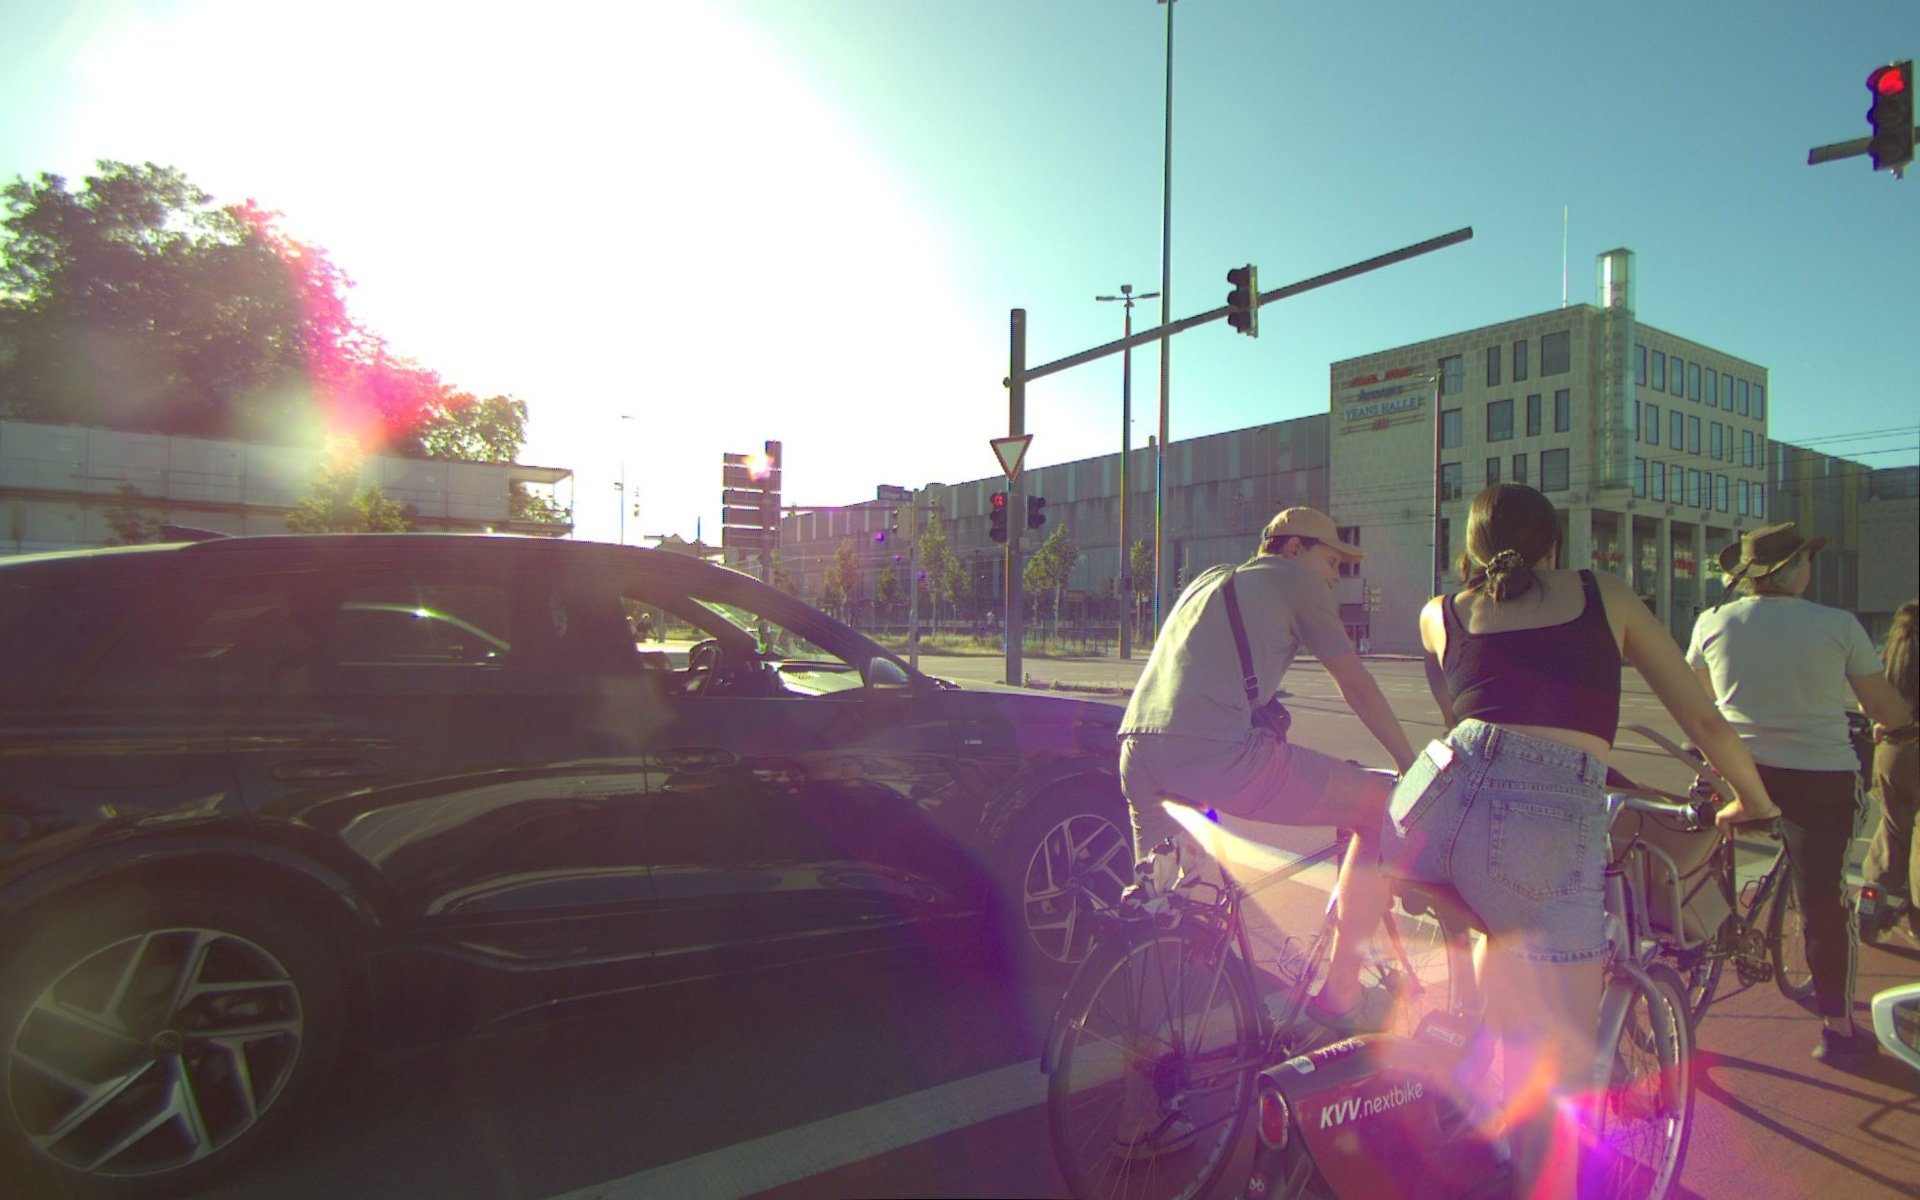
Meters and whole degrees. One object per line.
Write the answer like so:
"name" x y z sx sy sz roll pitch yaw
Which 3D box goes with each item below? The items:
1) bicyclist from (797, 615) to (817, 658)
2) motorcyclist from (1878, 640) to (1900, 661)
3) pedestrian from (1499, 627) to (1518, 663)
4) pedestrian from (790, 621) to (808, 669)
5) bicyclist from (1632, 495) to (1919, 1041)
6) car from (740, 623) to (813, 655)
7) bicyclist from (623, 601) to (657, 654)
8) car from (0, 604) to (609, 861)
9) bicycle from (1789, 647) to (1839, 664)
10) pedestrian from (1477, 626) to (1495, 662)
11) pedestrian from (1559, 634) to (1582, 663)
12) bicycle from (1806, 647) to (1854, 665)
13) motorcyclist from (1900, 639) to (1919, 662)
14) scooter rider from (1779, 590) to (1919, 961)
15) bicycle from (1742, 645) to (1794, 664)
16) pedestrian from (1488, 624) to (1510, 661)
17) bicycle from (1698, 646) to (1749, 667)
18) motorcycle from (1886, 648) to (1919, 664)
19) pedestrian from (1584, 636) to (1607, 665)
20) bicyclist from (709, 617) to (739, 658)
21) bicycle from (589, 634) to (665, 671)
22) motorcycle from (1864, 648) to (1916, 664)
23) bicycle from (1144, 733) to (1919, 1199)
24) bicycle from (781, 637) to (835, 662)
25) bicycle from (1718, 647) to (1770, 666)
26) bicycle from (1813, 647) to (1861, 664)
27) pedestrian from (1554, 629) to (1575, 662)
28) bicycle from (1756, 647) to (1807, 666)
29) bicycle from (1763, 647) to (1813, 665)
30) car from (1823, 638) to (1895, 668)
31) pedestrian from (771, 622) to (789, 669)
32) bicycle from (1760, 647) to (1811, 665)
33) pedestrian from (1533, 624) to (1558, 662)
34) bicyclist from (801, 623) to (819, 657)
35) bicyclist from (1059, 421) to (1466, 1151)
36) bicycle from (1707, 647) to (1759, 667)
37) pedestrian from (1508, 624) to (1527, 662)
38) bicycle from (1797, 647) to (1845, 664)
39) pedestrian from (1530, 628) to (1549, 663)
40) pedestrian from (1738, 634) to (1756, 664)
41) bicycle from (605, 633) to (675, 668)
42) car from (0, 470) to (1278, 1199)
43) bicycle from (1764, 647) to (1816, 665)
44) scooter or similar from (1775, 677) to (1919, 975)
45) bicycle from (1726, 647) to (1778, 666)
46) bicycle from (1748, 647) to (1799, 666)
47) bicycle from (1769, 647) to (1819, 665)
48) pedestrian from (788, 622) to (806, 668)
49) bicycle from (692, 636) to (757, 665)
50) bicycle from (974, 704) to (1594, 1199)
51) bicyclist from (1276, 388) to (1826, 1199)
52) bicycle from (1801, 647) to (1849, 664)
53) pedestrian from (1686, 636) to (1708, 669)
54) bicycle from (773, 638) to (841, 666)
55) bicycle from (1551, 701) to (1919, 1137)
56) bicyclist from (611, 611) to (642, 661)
"bicyclist" -5.532 1.303 36.291 0.607 1.525 0.754 1 -1 -15
"motorcyclist" 67.622 3.671 73.130 0.908 1.490 1.029 2 0 -37
"pedestrian" 33.232 2.710 60.859 0.883 2.152 0.944 0 -1 34
"pedestrian" -5.409 1.511 33.804 0.446 1.587 0.516 1 -1 -30
"bicyclist" 3.000 0.532 3.628 0.777 1.691 0.695 1 -1 -32
"car" -8.734 1.807 47.591 1.980 1.394 3.962 0 -1 -34
"bicyclist" -9.436 0.812 29.666 0.926 1.565 0.647 0 -1 -17
"car" -4.846 0.750 6.689 4.475 1.370 1.762 2 -1 -31
"bicycle" 58.267 3.787 68.549 0.824 1.125 2.458 1 -2 -28
"pedestrian" 32.233 2.682 61.529 0.883 2.152 0.944 0 -1 34
"pedestrian" 35.506 2.807 58.445 0.988 1.672 0.948 1 -1 22
"bicycle" 60.249 3.858 69.595 0.623 1.125 2.458 1 -2 -28
"motorcyclist" 70.723 3.745 74.634 0.908 1.596 1.129 2 0 -37
"scooter rider" 4.436 0.751 4.683 1.105 1.564 0.638 1 0 -33
"bicycle" 50.343 3.398 62.613 0.675 1.125 2.458 1 -2 -28
"pedestrian" 32.168 2.546 59.945 0.938 2.152 0.889 2 -1 -38
"bicycle" 45.701 3.376 60.166 0.650 1.127 2.391 1 -2 -29
"motorcycle" 70.688 4.176 74.648 0.908 1.009 2.649 2 0 -36
"pedestrian" 35.706 2.816 56.431 0.927 1.592 0.842 1 -1 19
"bicyclist" -8.095 1.287 34.478 0.831 1.375 0.799 0 0 -29
"bicycle" -9.494 1.485 28.730 2.044 0.991 0.802 0 0 -18
"motorcycle" 67.668 4.076 73.071 0.908 1.009 2.649 2 0 -36
"bicycle" 1.274 0.907 2.106 1.780 1.108 0.647 1 -1 -32
"bicycle" -5.996 1.924 39.503 2.042 0.939 0.803 0 0 -14
"bicycle" 48.013 3.446 61.516 0.675 1.125 2.459 1 -2 -27
"bicycle" 61.257 3.880 70.217 0.652 1.125 2.458 1 -2 -28
"pedestrian" 38.124 2.846 63.340 1.016 2.040 0.906 2 -1 -42
"bicycle" 52.563 3.591 64.279 0.675 1.125 2.458 1 -2 -28
"bicycle" 54.442 3.656 66.094 0.675 1.125 2.458 1 -2 -28
"car" 49.842 2.909 55.677 4.247 1.602 1.927 1 -2 -32
"pedestrian" -6.113 1.532 34.099 0.446 1.587 0.516 1 -1 -30
"bicycle" 53.191 3.605 64.726 0.675 1.125 2.458 1 -2 -28
"pedestrian" 33.904 2.493 58.186 1.042 2.157 1.098 1 -1 21
"bicyclist" -5.902 1.564 39.541 0.627 1.287 0.803 0 0 -14
"bicyclist" 0.810 0.417 2.702 0.884 1.596 0.620 1 -1 -31
"bicycle" 46.832 3.416 60.866 0.676 1.125 2.457 1 -2 -29
"pedestrian" 32.453 2.491 58.493 0.881 2.152 0.946 0 -1 25
"bicycle" 59.063 3.806 68.924 0.652 1.125 2.458 1 -2 -28
"pedestrian" 34.461 2.709 59.733 0.900 2.040 1.022 0 -1 27
"pedestrian" 54.813 3.409 69.941 0.933 2.008 1.004 0 -1 36
"bicycle" -9.429 1.489 29.654 1.946 1.010 0.647 0 -1 -17
"car" -1.154 0.614 4.094 4.740 1.684 2.182 2 -1 -33
"bicycle" 53.846 3.628 65.200 0.824 1.125 2.458 1 -2 -28
"scooter or similar" 4.567 0.997 4.788 1.468 1.191 0.638 1 0 -33
"bicycle" 48.747 3.458 61.842 0.675 1.125 2.458 1 -2 -28
"bicycle" 51.525 3.556 63.653 0.586 1.125 2.458 1 -2 -28
"bicycle" 55.459 3.690 66.807 0.824 1.125 2.458 1 -2 -28
"pedestrian" -5.655 1.542 34.825 0.446 1.587 0.516 1 -1 -30
"bicycle" -8.090 1.726 34.475 2.052 0.939 0.799 0 -1 -29
"bicycle" 0.963 0.904 2.782 1.795 1.131 0.620 1 -1 -31
"bicyclist" 1.189 0.465 2.052 0.837 1.563 0.647 1 -1 -31
"bicycle" 59.654 3.833 69.287 0.652 1.125 2.458 1 -2 -28
"pedestrian" 40.786 2.907 55.594 0.748 1.763 0.746 1 -1 -32
"bicycle" -5.520 1.870 36.283 2.354 0.953 0.754 1 -1 -15
"bicycle" 2.938 0.966 3.578 1.780 1.108 0.703 1 -1 -32
"bicyclist" -9.532 1.016 28.719 0.829 1.420 0.802 0 0 -17
